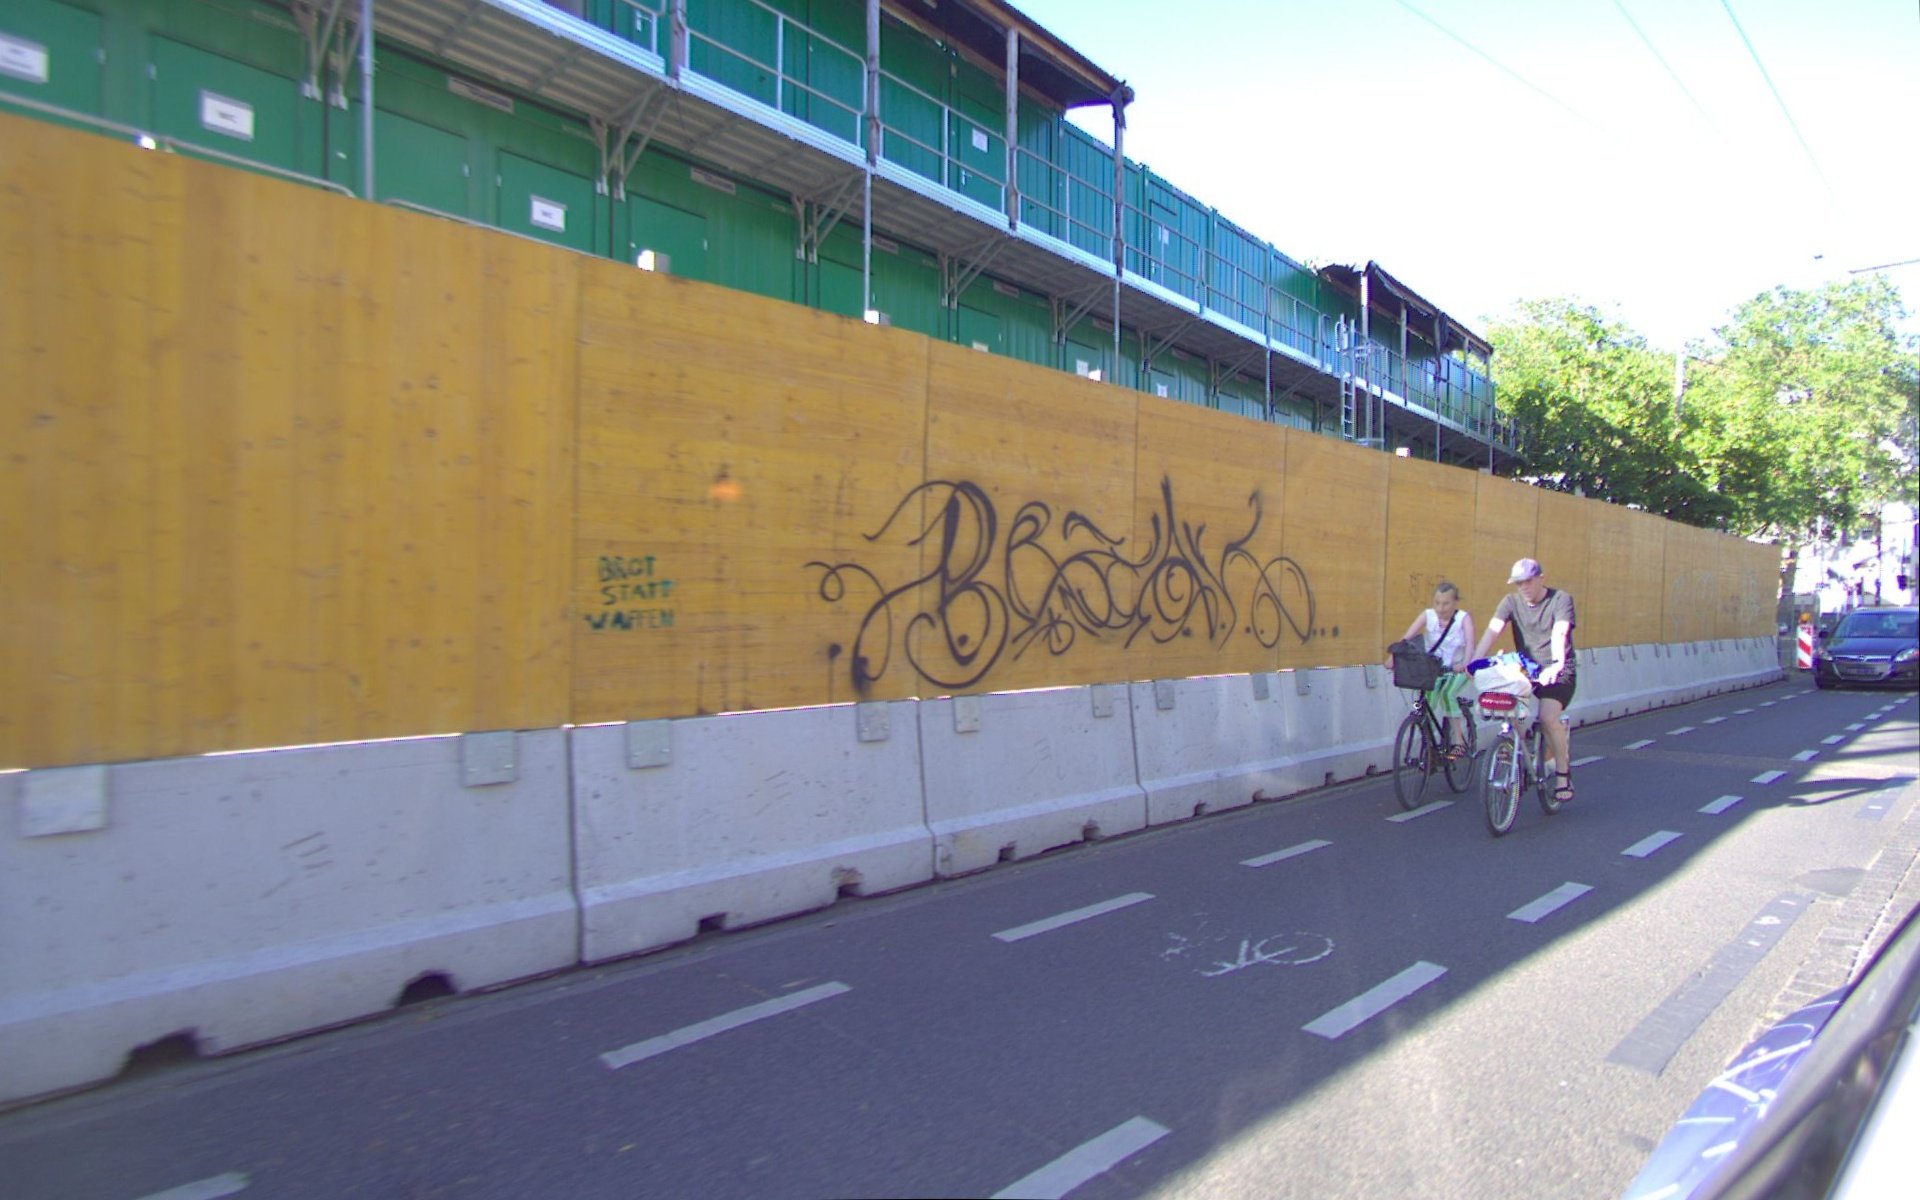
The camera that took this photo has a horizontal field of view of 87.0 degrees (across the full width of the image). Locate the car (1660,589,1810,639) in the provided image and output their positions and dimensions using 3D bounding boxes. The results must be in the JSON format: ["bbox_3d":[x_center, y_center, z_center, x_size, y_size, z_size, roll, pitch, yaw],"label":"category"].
[{"bbox_3d":[33.219,0.568,43.522,1.963,2.035,4.795,0,0,-37],"label":"car"}]

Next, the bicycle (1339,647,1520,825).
[{"bbox_3d":[3.792,0.997,8.055,2.239,1.141,0.557,0,0,-45],"label":"bicycle"}]

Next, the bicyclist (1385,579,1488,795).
[{"bbox_3d":[3.787,0.652,8.048,0.567,1.633,0.556,1,0,-44],"label":"bicyclist"}]

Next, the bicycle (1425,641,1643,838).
[{"bbox_3d":[4.212,0.911,7.336,2.236,1.169,0.668,0,-2,-42],"label":"bicycle"}]

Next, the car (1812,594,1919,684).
[{"bbox_3d":[18.755,0.735,20.162,4.091,1.643,1.750,0,-2,-36],"label":"car"}]

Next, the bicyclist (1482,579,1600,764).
[{"bbox_3d":[4.143,0.479,7.229,0.348,1.253,0.652,1,0,-43],"label":"bicyclist"}]
